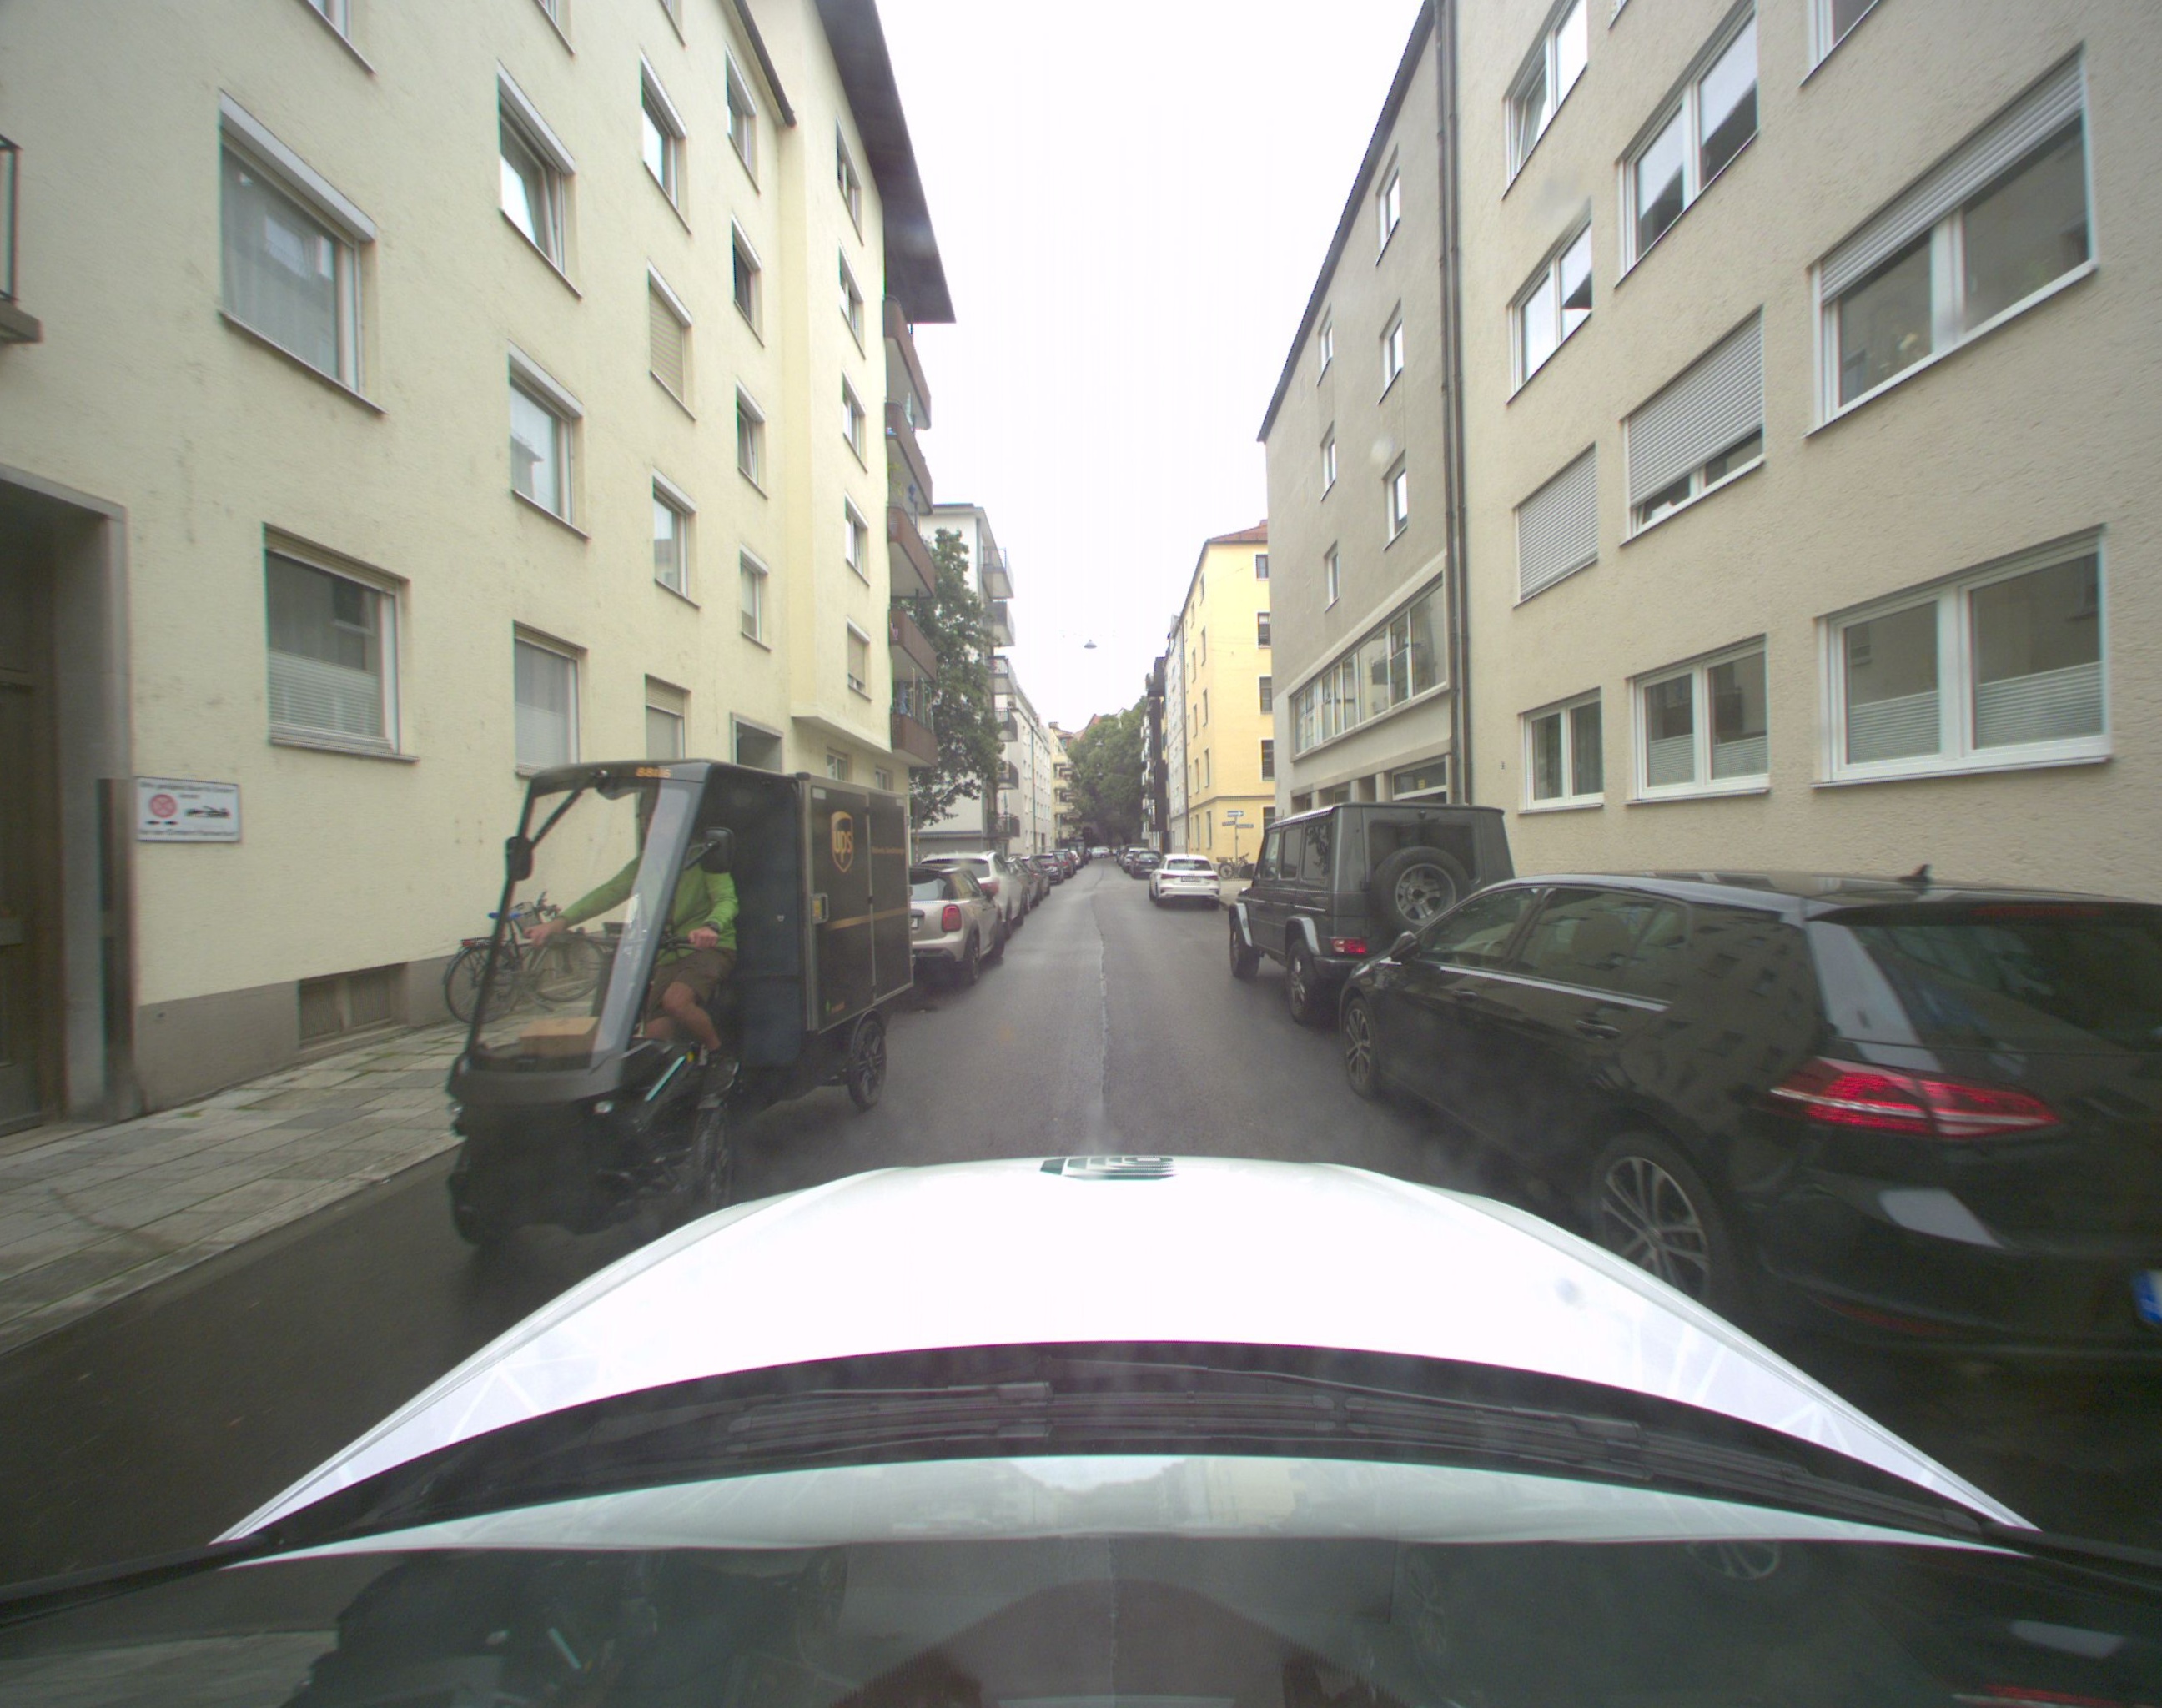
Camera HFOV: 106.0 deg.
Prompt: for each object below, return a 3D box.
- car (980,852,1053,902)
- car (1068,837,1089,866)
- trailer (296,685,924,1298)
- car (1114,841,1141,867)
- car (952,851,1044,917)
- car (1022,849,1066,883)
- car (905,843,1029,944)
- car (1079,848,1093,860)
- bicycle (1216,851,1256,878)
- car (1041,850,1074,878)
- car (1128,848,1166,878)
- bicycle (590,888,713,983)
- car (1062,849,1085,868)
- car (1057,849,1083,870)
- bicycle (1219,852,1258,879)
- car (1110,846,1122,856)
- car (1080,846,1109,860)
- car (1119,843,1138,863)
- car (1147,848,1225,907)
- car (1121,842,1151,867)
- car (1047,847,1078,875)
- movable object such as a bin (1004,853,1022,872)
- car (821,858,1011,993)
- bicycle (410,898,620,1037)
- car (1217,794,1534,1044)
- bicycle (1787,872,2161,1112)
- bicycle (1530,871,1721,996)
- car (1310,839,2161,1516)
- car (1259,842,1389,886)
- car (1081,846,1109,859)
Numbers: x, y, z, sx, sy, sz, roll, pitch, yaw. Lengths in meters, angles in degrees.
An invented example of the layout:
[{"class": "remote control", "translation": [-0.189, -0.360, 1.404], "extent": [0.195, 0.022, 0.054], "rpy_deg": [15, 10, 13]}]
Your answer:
[{"class": "car", "translation": [-2.043, 0.701, 27.058], "extent": [1.849, 1.408, 4.385], "rpy_deg": [-3, 0, 2]}, {"class": "car", "translation": [-0.234, -0.303, 85.257], "extent": [1.930, 2.801, 4.533], "rpy_deg": [-4, 0, 1]}, {"class": "trailer", "translation": [-1.992, 0.494, 4.511], "extent": [1.349, 2.116, 3.321], "rpy_deg": [-1, -1, 4]}, {"class": "car", "translation": [3.461, -0.010, 61.229], "extent": [1.822, 1.910, 4.417], "rpy_deg": [0, 1, 1]}, {"class": "car", "translation": [-2.103, 0.709, 21.877], "extent": [1.759, 1.483, 4.427], "rpy_deg": [-2, 1, 3]}, {"class": "car", "translation": [-1.715, 0.536, 38.741], "extent": [1.686, 1.442, 3.944], "rpy_deg": [-3, 0, 2]}, {"class": "car", "translation": [-2.116, 0.682, 16.293], "extent": [1.760, 1.675, 4.367], "rpy_deg": [-2, 0, 1]}, {"class": "car", "translation": [0.680, 0.014, 103.898], "extent": [1.636, 1.383, 3.483], "rpy_deg": [-4, 0, 1]}, {"class": "bicycle", "translation": [7.345, 0.495, 38.623], "extent": [1.802, 1.174, 0.505], "rpy_deg": [-3, 2, -1]}, {"class": "car", "translation": [-1.277, 0.550, 46.387], "extent": [1.687, 1.442, 3.977], "rpy_deg": [-3, 0, 0]}, {"class": "car", "translation": [3.505, 0.441, 43.620], "extent": [1.744, 1.469, 4.344], "rpy_deg": [1, 1, 1]}, {"class": "bicycle", "translation": [-5.295, 0.964, 10.172], "extent": [0.511, 0.999, 1.860], "rpy_deg": [1, 0, 0]}, {"class": "car", "translation": [-0.627, 0.390, 70.672], "extent": [1.770, 1.452, 4.047], "rpy_deg": [-4, 0, 1]}, {"class": "car", "translation": [-0.866, 0.402, 65.212], "extent": [1.770, 1.487, 4.522], "rpy_deg": [-4, 0, 2]}, {"class": "bicycle", "translation": [7.362, 0.527, 38.112], "extent": [1.707, 1.139, 0.374], "rpy_deg": [-3, 2, 0]}, {"class": "car", "translation": [5.598, -0.521, 130.639], "extent": [1.636, 1.383, 3.746], "rpy_deg": [-4, 0, 1]}, {"class": "car", "translation": [1.912, -0.129, 113.835], "extent": [3.873, 1.584, 1.647], "rpy_deg": [-4, 0, 0]}, {"class": "car", "translation": [5.131, -0.132, 88.432], "extent": [1.823, 1.999, 4.416], "rpy_deg": [1, 0, 1]}, {"class": "car", "translation": [2.967, 0.619, 23.716], "extent": [1.813, 1.408, 3.953], "rpy_deg": [0, 2, 1]}, {"class": "car", "translation": [3.584, 0.003, 53.605], "extent": [1.676, 1.567, 4.416], "rpy_deg": [1, 1, 0]}, {"class": "car", "translation": [-1.139, 0.435, 52.429], "extent": [1.770, 1.629, 4.415], "rpy_deg": [-3, 0, 1]}, {"class": "movable object such as a bin", "translation": [-5.162, 0.613, 61.791], "extent": [1.161, 1.336, 1.026], "rpy_deg": [-4, 0, 4]}, {"class": "car", "translation": [-2.019, 0.813, 11.040], "extent": [1.646, 1.435, 3.804], "rpy_deg": [-2, 0, 2]}, {"class": "bicycle", "translation": [-5.223, 0.997, 7.684], "extent": [0.728, 1.027, 1.812], "rpy_deg": [0, 1, -1]}, {"class": "car", "translation": [2.722, 0.502, 8.682], "extent": [1.745, 1.975, 4.341], "rpy_deg": [1, 1, -1]}, {"class": "bicycle", "translation": [5.410, 0.707, 4.945], "extent": [0.652, 1.106, 1.760], "rpy_deg": [-5, 0, 1]}, {"class": "bicycle", "translation": [5.350, 0.726, 8.156], "extent": [0.642, 1.028, 1.797], "rpy_deg": [-5, 0, 1]}, {"class": "car", "translation": [2.581, 0.720, 3.944], "extent": [1.706, 1.486, 4.242], "rpy_deg": [0, 0, -1]}, {"class": "car", "translation": [8.875, 0.332, 29.974], "extent": [4.193, 1.399, 1.999], "rpy_deg": [-2, 2, -2]}, {"class": "car", "translation": [1.990, -0.199, 115.809], "extent": [3.873, 1.584, 1.647], "rpy_deg": [-4, 0, 0]}]
